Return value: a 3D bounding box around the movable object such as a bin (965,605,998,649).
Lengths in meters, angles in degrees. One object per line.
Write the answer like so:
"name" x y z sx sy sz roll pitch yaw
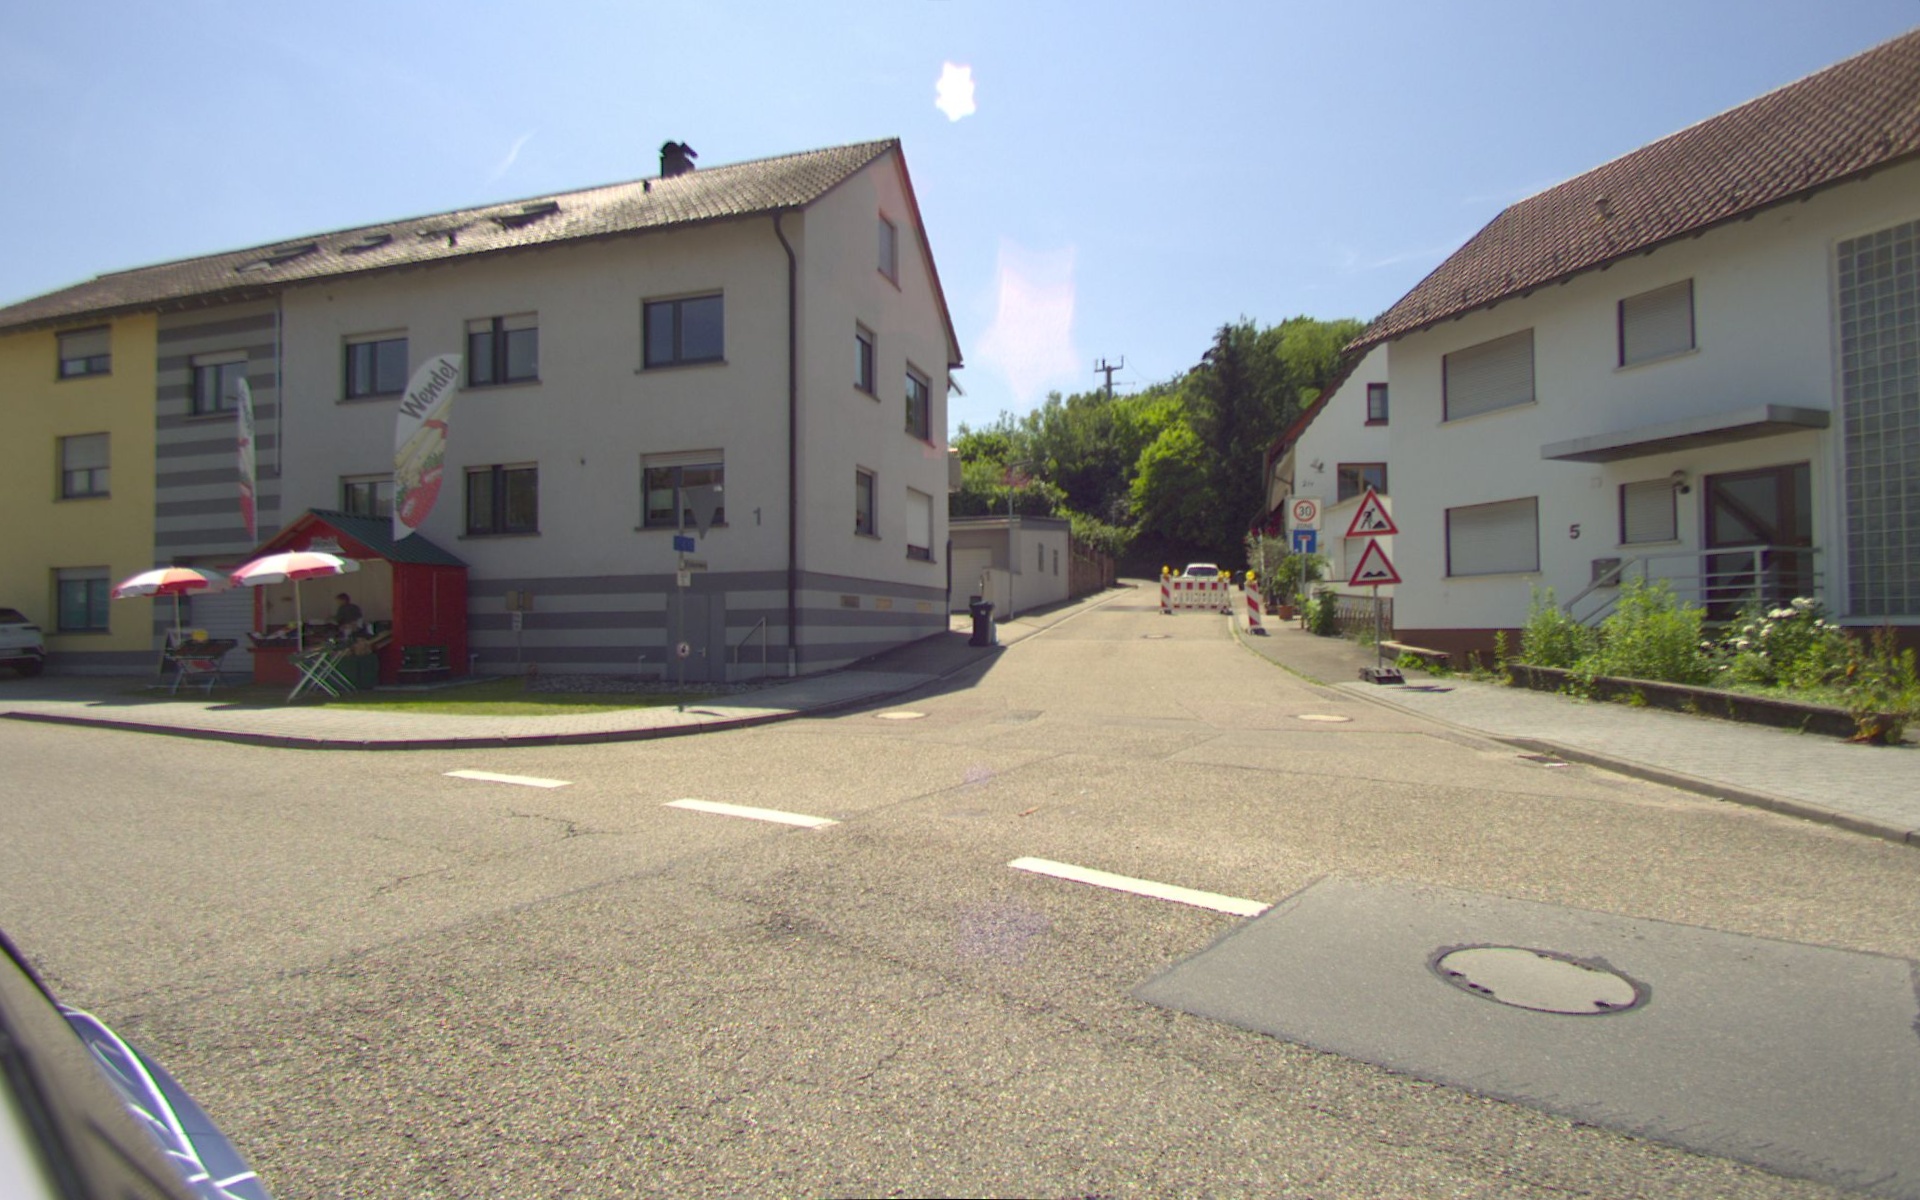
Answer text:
"movable object such as a bin" 0.470 0.588 21.959 0.595 0.941 0.597 -1 -2 15

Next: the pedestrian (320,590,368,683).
"pedestrian" -10.965 0.643 18.009 0.603 1.600 0.810 1 -2 -40

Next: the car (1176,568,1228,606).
"car" 9.873 -0.569 41.131 1.892 1.431 4.362 -1 2 16

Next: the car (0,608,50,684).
"car" -21.644 0.977 21.400 4.154 1.564 1.726 -1 -1 18
